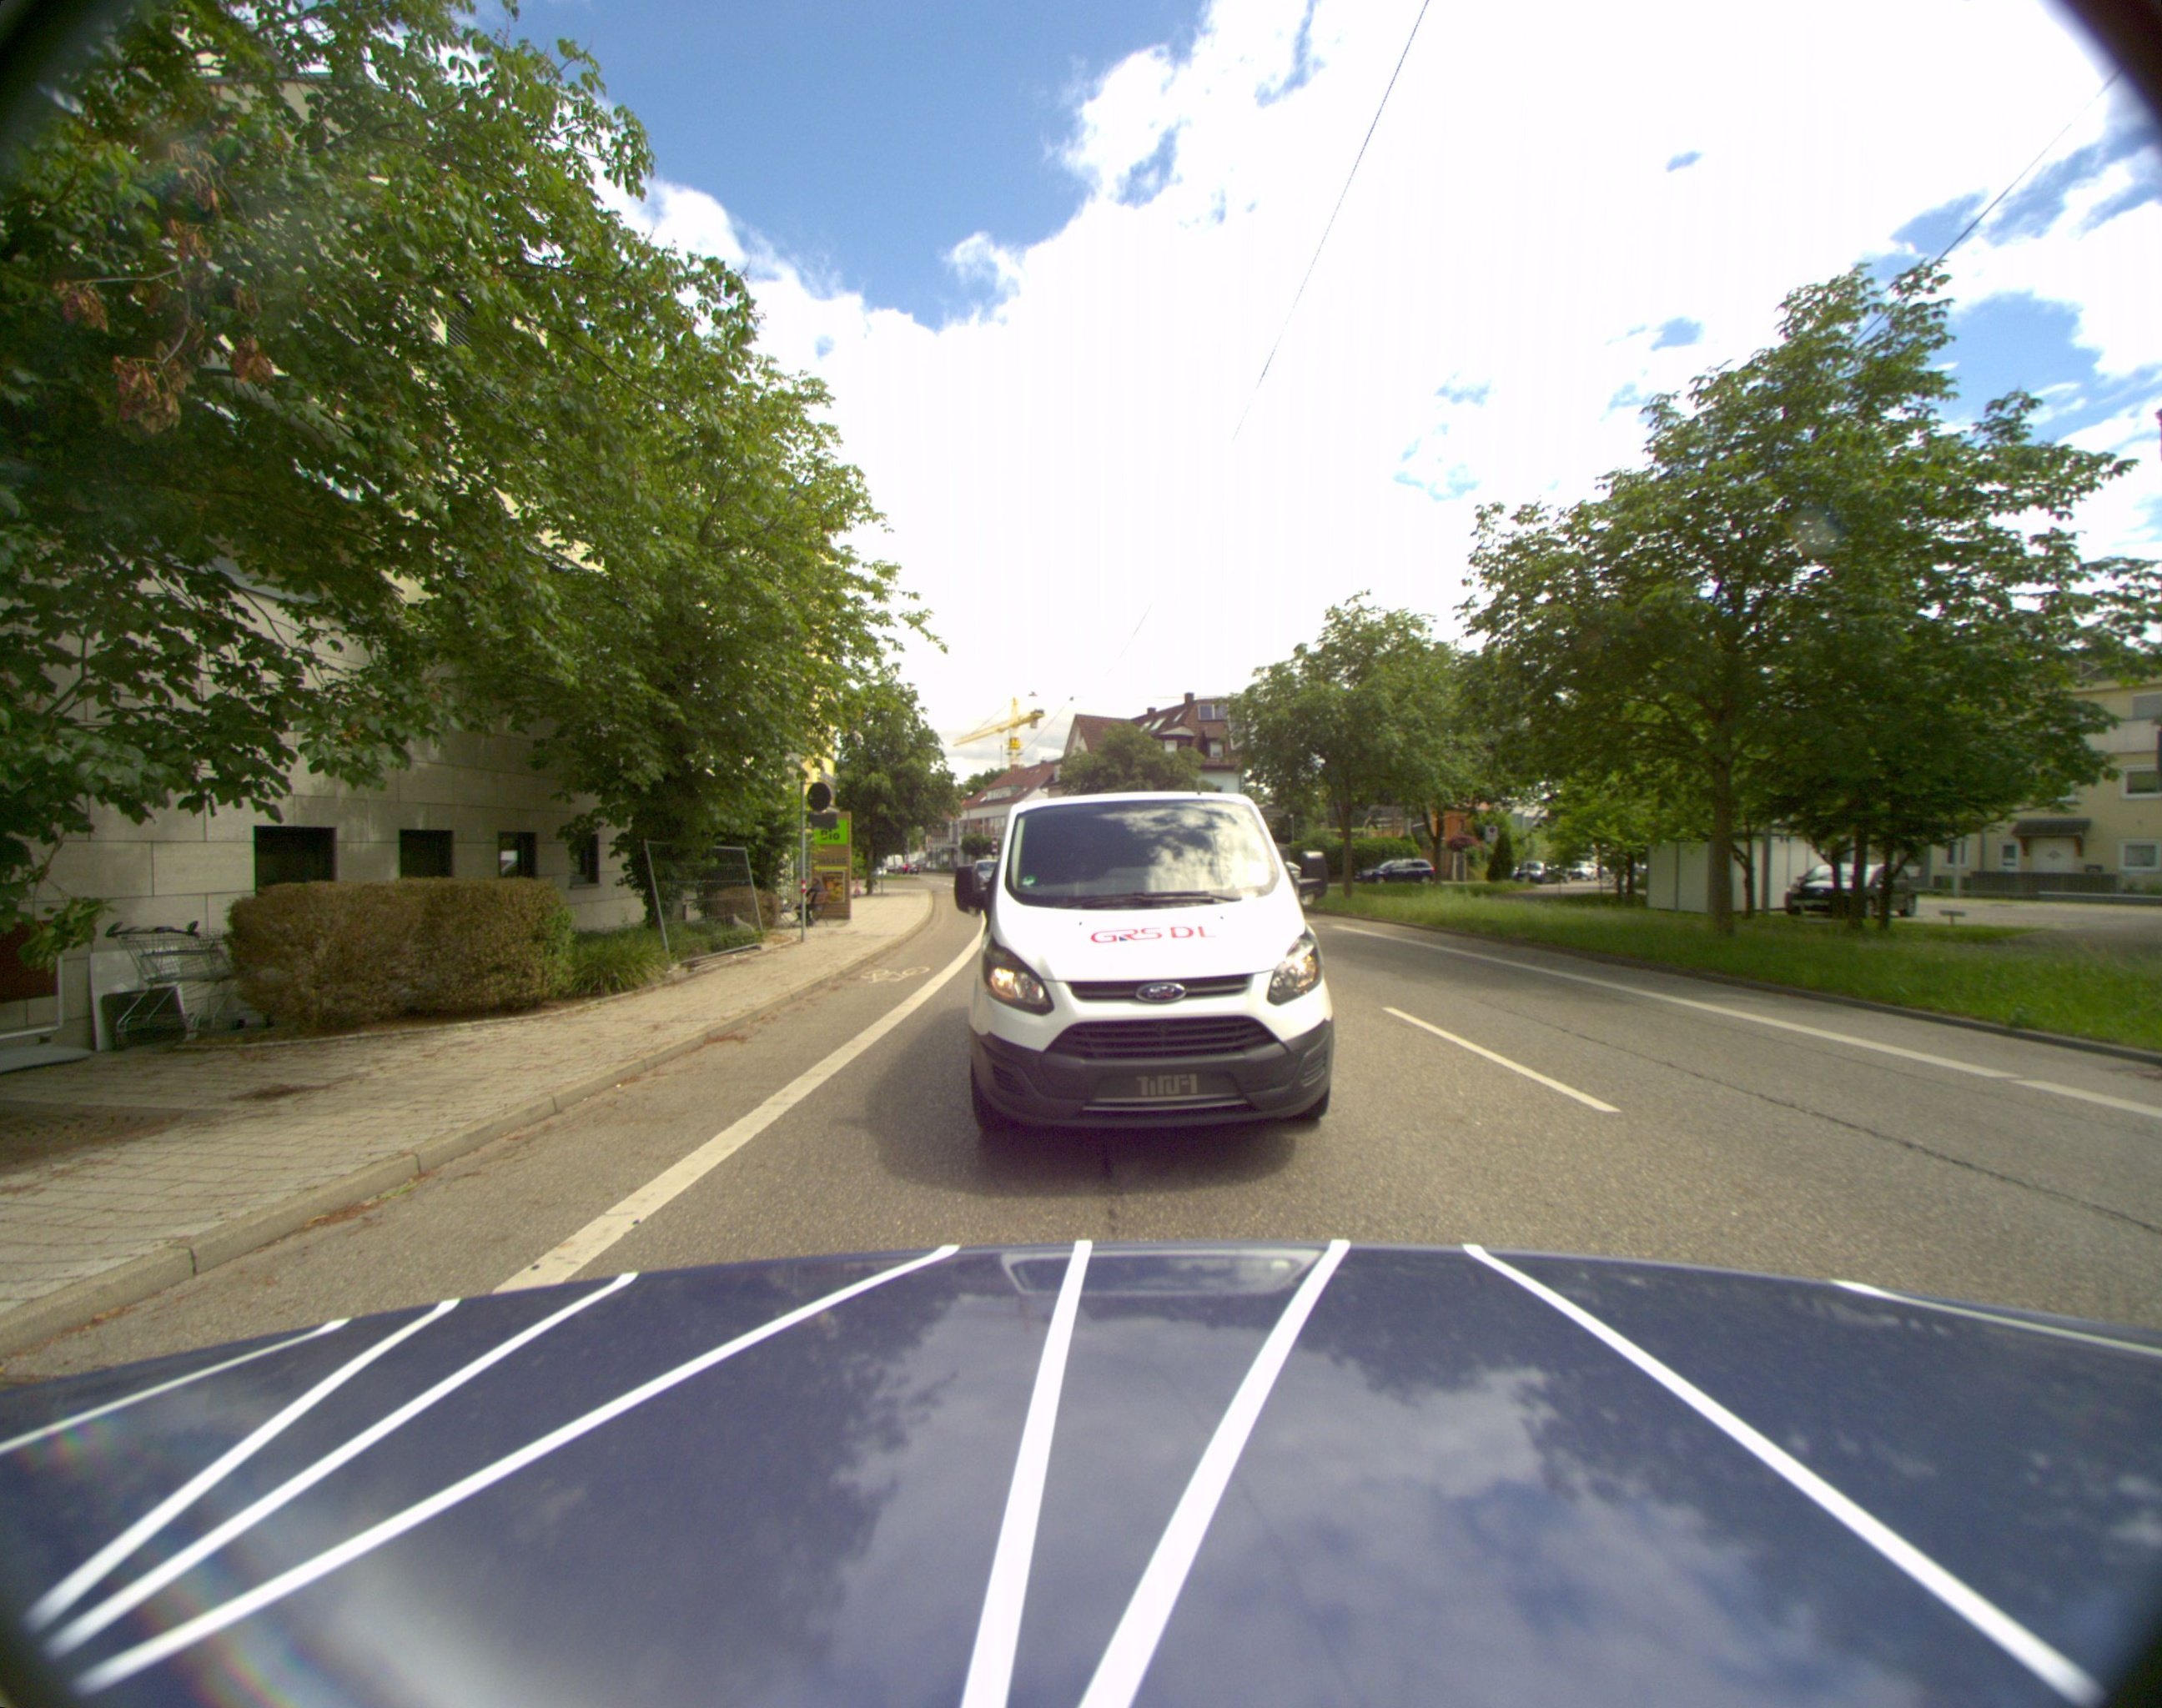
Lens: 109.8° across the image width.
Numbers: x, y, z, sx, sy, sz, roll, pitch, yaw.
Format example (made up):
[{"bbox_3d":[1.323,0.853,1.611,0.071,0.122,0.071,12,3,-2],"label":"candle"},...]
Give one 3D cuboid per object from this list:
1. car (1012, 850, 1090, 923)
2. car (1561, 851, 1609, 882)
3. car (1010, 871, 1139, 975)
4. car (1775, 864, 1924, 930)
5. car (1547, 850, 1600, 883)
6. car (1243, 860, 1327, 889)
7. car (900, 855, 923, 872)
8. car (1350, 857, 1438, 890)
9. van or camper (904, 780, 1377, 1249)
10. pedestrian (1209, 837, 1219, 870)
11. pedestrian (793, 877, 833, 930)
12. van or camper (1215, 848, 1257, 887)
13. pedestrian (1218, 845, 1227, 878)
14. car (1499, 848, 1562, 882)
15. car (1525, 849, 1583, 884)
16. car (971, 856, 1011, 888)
[{"bbox_3d":[-0.955,0.834,21.748,1.853,1.805,3.997,-3,1,-7],"label":"car"},{"bbox_3d":[36.298,0.858,54.697,4.007,2.002,1.893,-3,1,-42],"label":"car"},{"bbox_3d":[-0.105,1.036,12.848,1.840,1.382,3.999,0,0,-1],"label":"car"},{"bbox_3d":[20.820,1.091,20.565,4.005,1.412,1.789,-3,1,-29],"label":"car"},{"bbox_3d":[33.269,0.805,51.293,4.007,2.002,1.994,-3,1,-42],"label":"car"},{"bbox_3d":[10.820,1.082,40.396,4.046,1.314,1.534,-3,0,-13],"label":"car"},{"bbox_3d":[-19.767,1.075,88.403,1.744,1.840,3.991,0,0,-26],"label":"car"},{"bbox_3d":[16.657,1.028,40.530,3.976,1.672,1.717,0,1,-3],"label":"car"},{"bbox_3d":[0.360,0.688,5.826,2.026,2.002,5.103,0,0,3],"label":"van or camper"},{"bbox_3d":[8.195,-0.032,46.808,0.425,2.002,0.363,-2,1,1],"label":"pedestrian"},{"bbox_3d":[-6.779,1.243,19.274,0.731,1.293,0.754,0,1,0],"label":"pedestrian"},{"bbox_3d":[9.039,0.723,44.559,1.793,2.077,3.811,-2,1,2],"label":"van or camper"},{"bbox_3d":[8.714,0.449,46.803,0.383,1.979,0.443,-2,1,0],"label":"pedestrian"},{"bbox_3d":[27.142,0.628,45.826,4.008,2.002,1.976,0,0,-39],"label":"car"},{"bbox_3d":[30.242,0.759,48.556,4.007,2.002,1.995,-3,1,-40],"label":"car"},{"bbox_3d":[-4.854,0.925,40.563,1.695,1.477,3.995,-3,1,-13],"label":"car"}]
